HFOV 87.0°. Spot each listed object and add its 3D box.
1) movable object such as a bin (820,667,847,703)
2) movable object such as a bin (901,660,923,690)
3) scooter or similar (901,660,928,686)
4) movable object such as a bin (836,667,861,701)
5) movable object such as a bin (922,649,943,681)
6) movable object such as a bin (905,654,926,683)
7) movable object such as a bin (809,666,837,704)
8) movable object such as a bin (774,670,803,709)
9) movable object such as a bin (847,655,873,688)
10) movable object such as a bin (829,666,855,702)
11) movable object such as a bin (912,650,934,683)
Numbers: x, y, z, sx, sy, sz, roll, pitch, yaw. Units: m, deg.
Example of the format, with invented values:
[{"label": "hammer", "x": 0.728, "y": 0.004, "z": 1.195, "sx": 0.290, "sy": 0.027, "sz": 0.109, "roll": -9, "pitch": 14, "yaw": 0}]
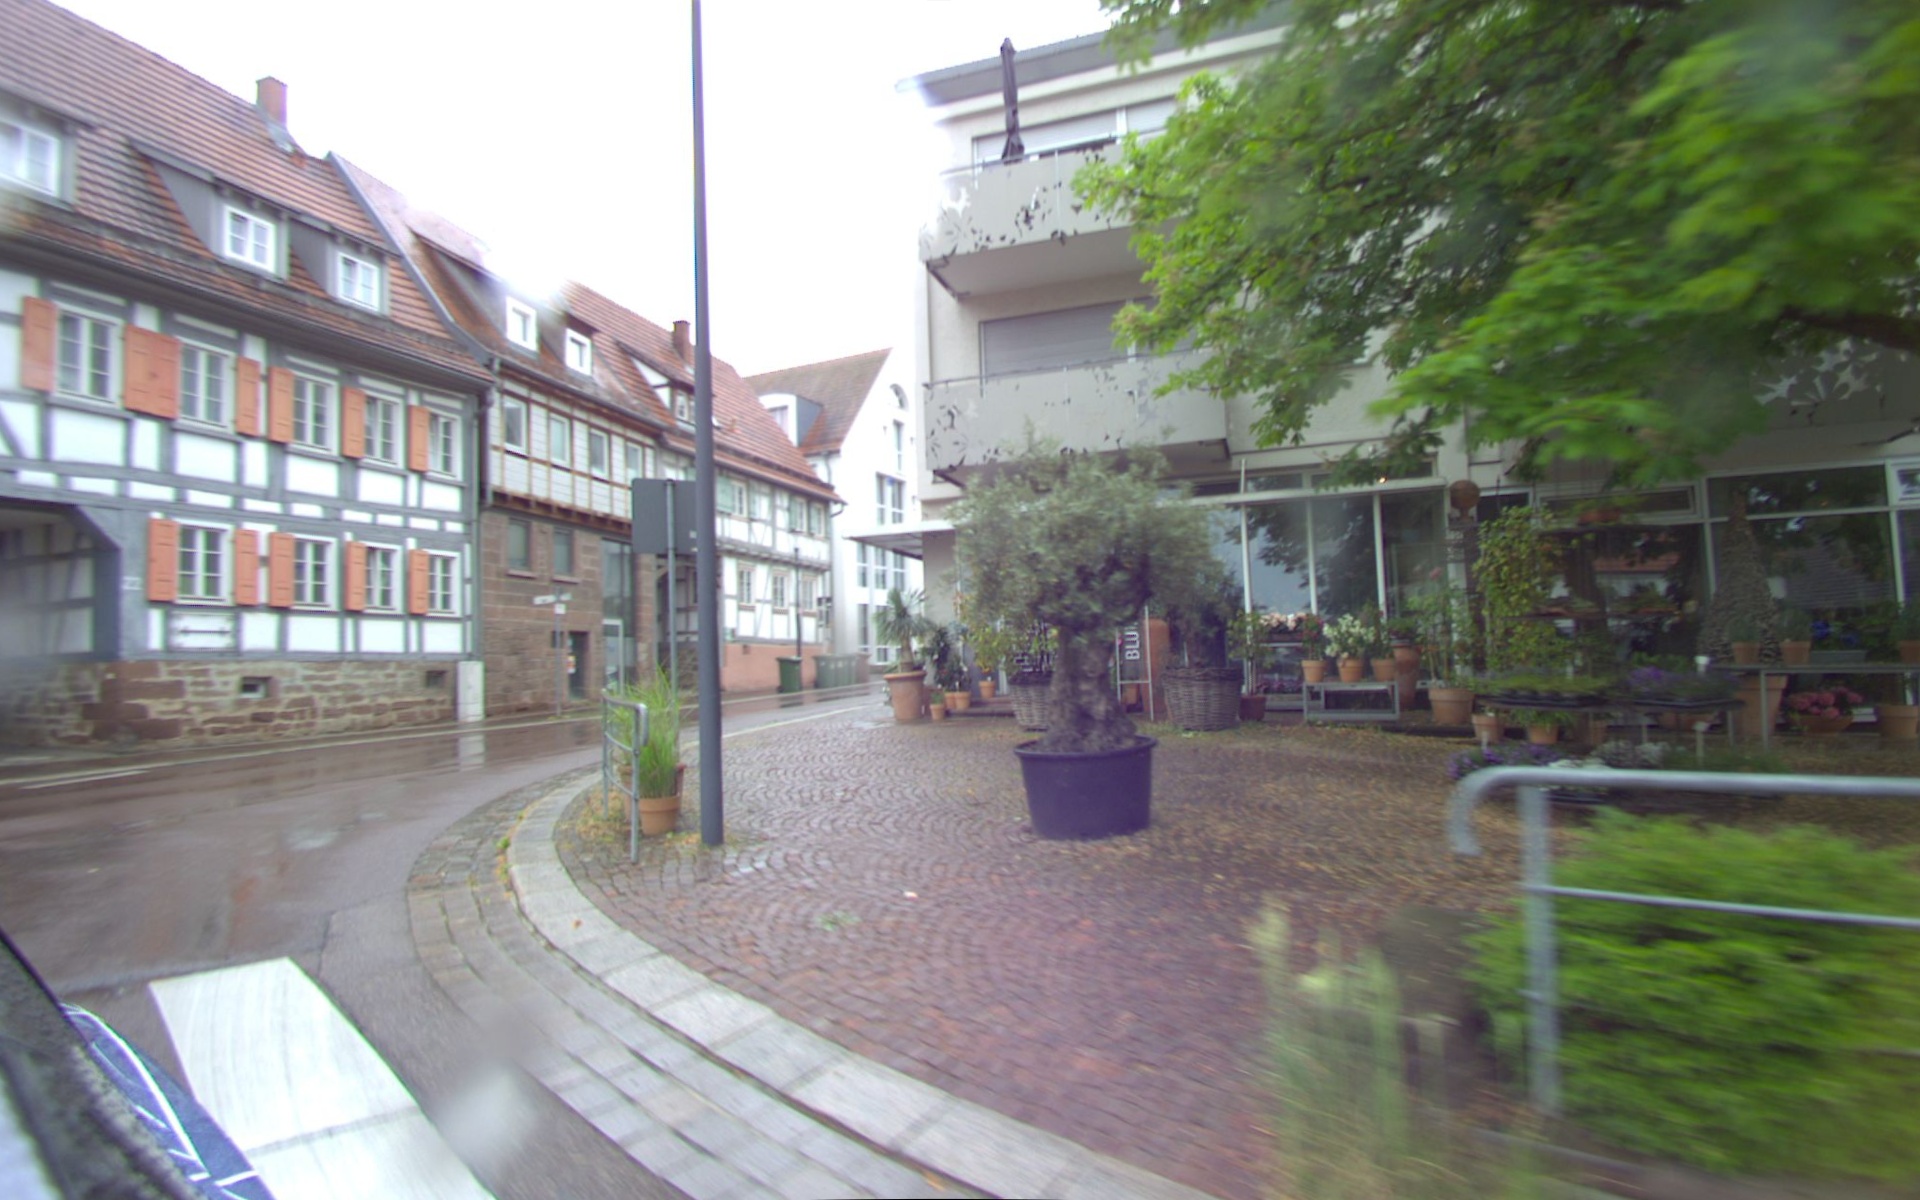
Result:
[{"label": "movable object such as a bin", "x": -4.186, "y": 2.814, "z": 33.484, "sx": 0.636, "sy": 1.156, "sz": 0.599, "roll": -5, "pitch": -4, "yaw": 23}, {"label": "movable object such as a bin", "x": -1.923, "y": 2.998, "z": 40.262, "sx": 0.614, "sy": 1.140, "sz": 0.627, "roll": -4, "pitch": -4, "yaw": 22}, {"label": "scooter or similar", "x": -2.147, "y": 3.437, "z": 47.906, "sx": 0.663, "sy": 1.154, "sz": 1.434, "roll": -5, "pitch": -3, "yaw": 24}, {"label": "movable object such as a bin", "x": -3.819, "y": 2.875, "z": 34.706, "sx": 0.666, "sy": 1.089, "sz": 0.584, "roll": -3, "pitch": -2, "yaw": 16}, {"label": "movable object such as a bin", "x": -1.161, "y": 2.720, "z": 42.498, "sx": 0.636, "sy": 1.300, "sz": 0.627, "roll": -5, "pitch": -4, "yaw": 23}, {"label": "movable object such as a bin", "x": -1.793, "y": 2.778, "z": 40.949, "sx": 0.614, "sy": 1.140, "sz": 0.627, "roll": -5, "pitch": -4, "yaw": 23}, {"label": "movable object such as a bin", "x": -4.411, "y": 2.739, "z": 32.616, "sx": 0.636, "sy": 1.156, "sz": 0.575, "roll": -5, "pitch": -4, "yaw": 23}, {"label": "movable object such as a bin", "x": -5.137, "y": 2.675, "z": 30.290, "sx": 0.606, "sy": 1.136, "sz": 0.596, "roll": -4, "pitch": -3, "yaw": 18}, {"label": "movable object such as a bin", "x": -3.531, "y": 2.513, "z": 35.729, "sx": 0.674, "sy": 1.105, "sz": 0.647, "roll": -5, "pitch": -4, "yaw": 14}, {"label": "movable object such as a bin", "x": -3.966, "y": 2.829, "z": 34.090, "sx": 0.634, "sy": 1.156, "sz": 0.629, "roll": -4, "pitch": -3, "yaw": 16}, {"label": "movable object such as a bin", "x": -1.511, "y": 2.736, "z": 41.620, "sx": 0.636, "sy": 1.300, "sz": 0.627, "roll": -5, "pitch": -4, "yaw": 23}]
